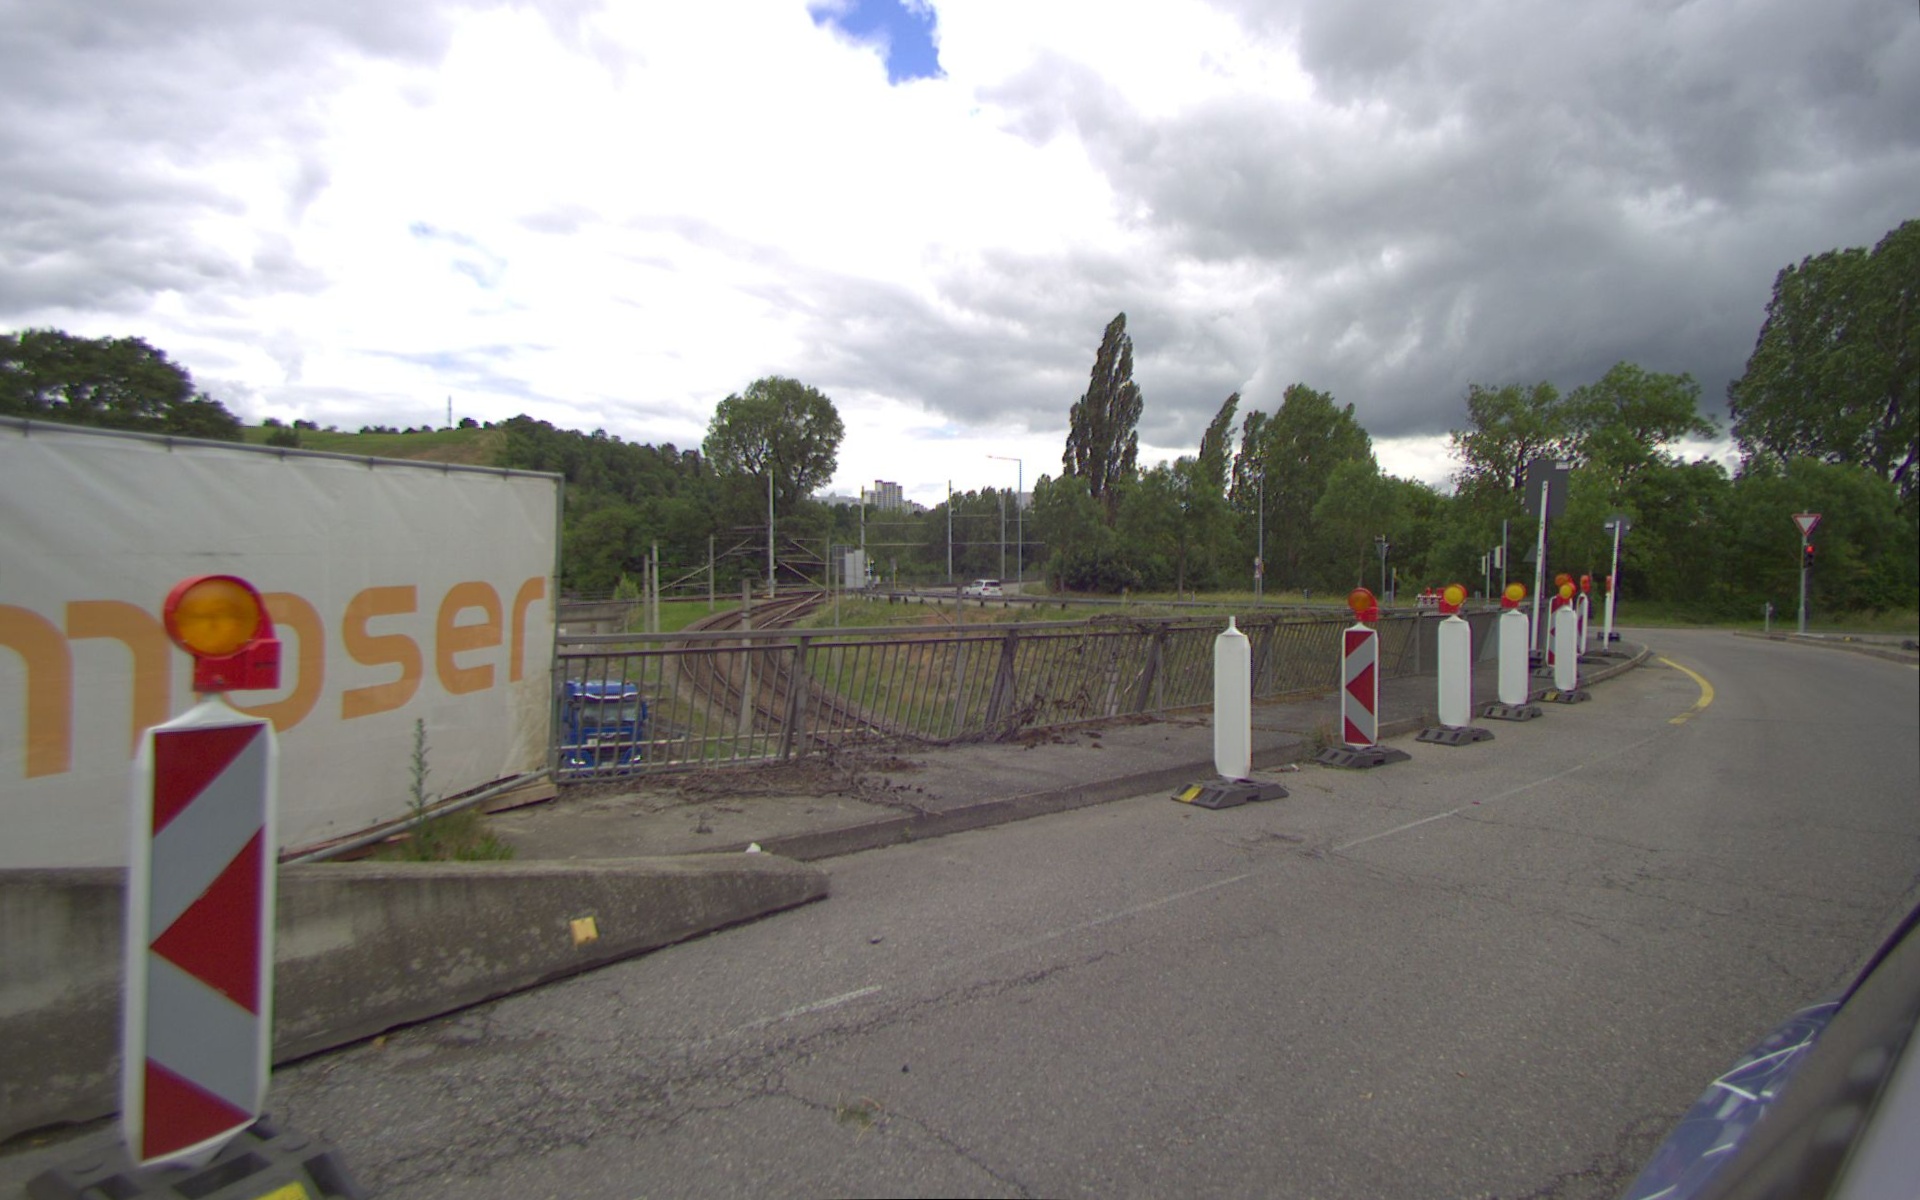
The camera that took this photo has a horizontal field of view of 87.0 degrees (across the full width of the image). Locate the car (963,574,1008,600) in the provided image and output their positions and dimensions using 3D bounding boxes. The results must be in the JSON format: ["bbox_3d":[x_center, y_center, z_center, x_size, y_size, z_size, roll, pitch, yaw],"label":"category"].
[{"bbox_3d":[1.954,-0.976,79.867,2.039,1.782,4.330,3,-2,-19],"label":"car"}]

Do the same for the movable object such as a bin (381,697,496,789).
[{"bbox_3d":[-19.471,5.271,38.053,2.983,2.784,4.296,0,-1,-15],"label":"movable object such as a bin"}]

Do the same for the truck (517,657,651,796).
[{"bbox_3d":[-15.140,4.608,39.960,2.791,3.942,11.628,0,1,-31],"label":"truck"}]
